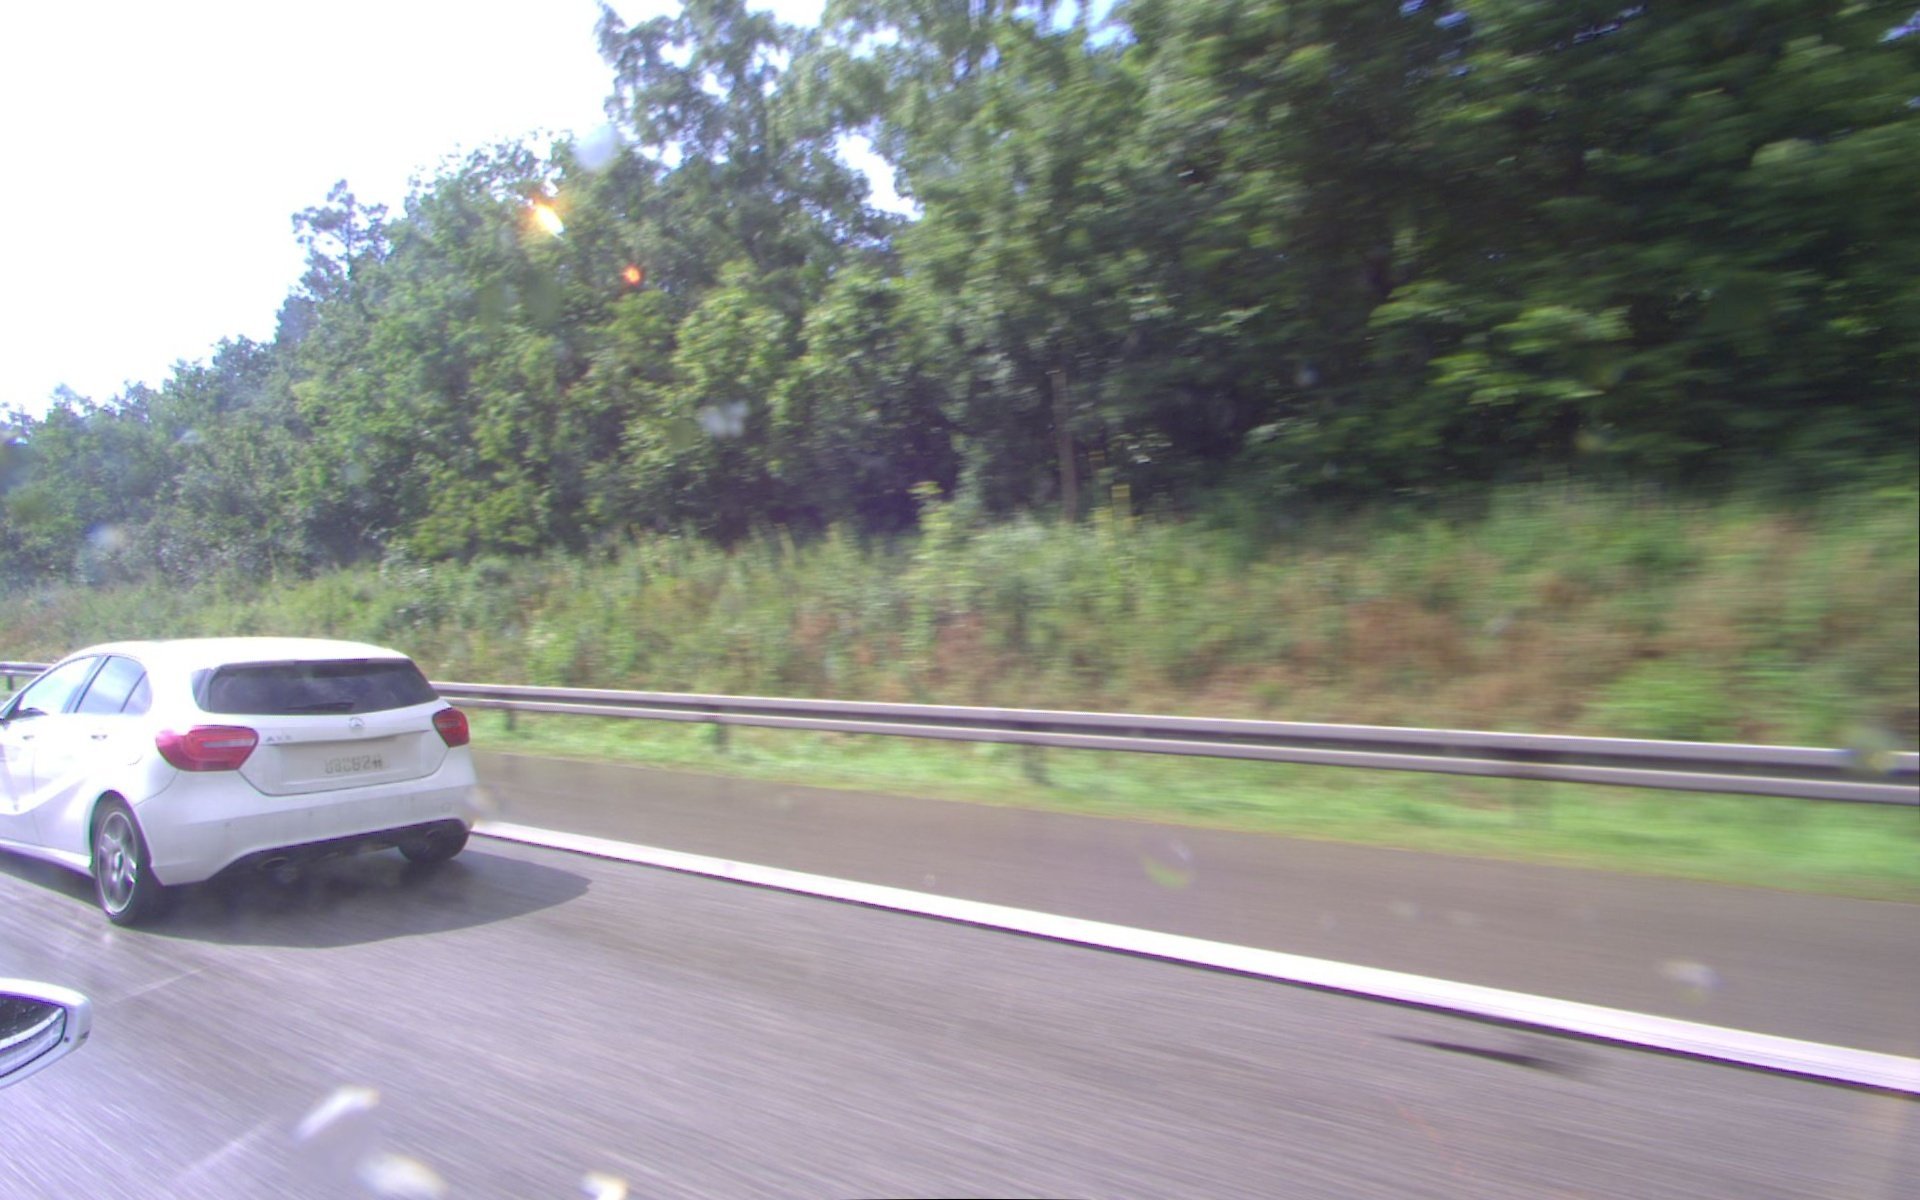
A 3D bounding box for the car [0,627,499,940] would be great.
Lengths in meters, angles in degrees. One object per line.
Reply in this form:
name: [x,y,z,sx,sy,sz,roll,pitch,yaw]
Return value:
car: [-4.999,0.909,6.463,4.160,1.443,1.689,-1,-2,32]
